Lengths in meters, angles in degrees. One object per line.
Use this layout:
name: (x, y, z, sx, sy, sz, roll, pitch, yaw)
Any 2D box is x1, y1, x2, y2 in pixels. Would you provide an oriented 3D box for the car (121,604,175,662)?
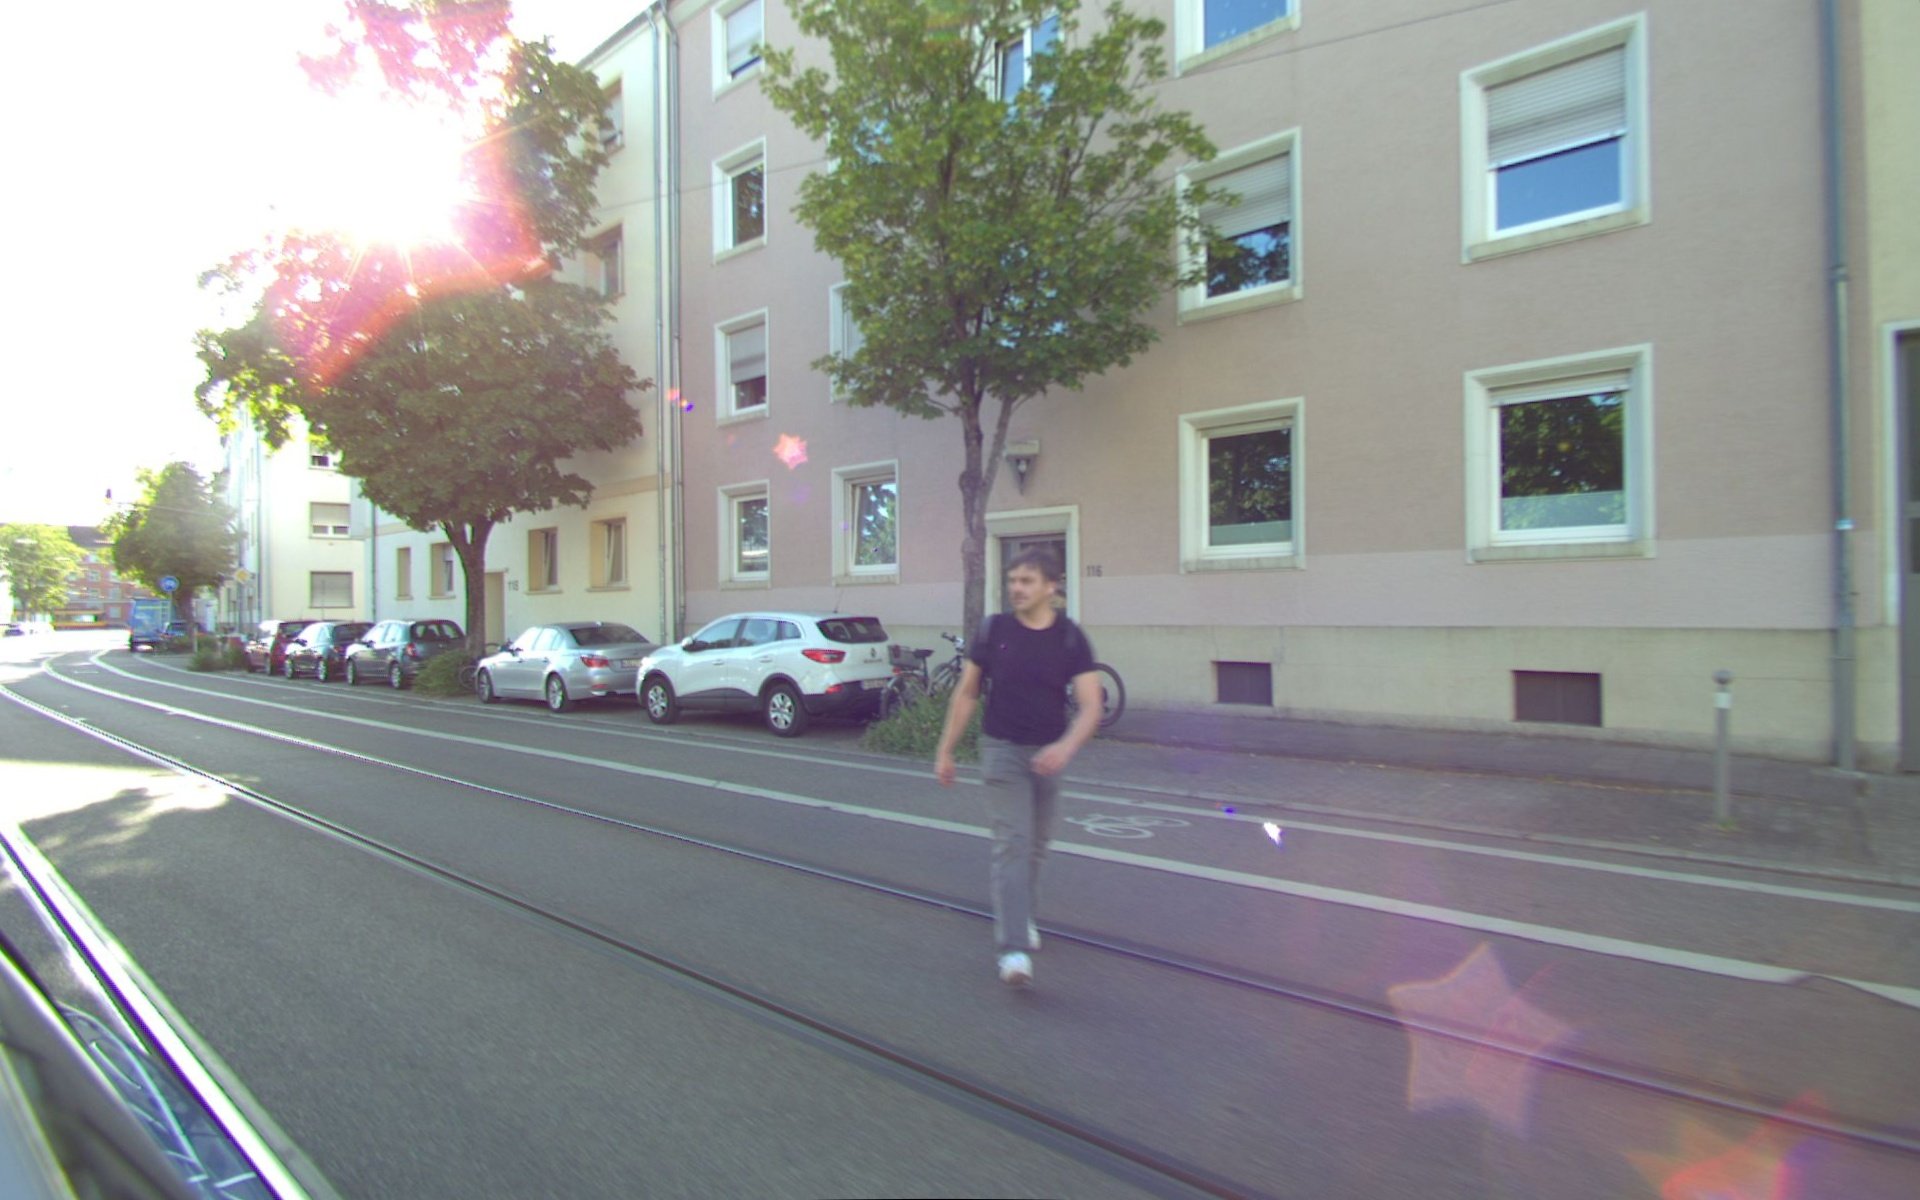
car: (-42.749, 1.699, 53.385, 1.991, 2.847, 6.045, -1, 0, -37)

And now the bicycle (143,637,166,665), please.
bicycle: (-34.153, 2.149, 42.908, 0.506, 1.143, 2.032, -1, -1, -45)

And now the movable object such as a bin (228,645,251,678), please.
movable object such as a bin: (-22.973, 1.951, 32.282, 0.660, 0.995, 0.479, -2, -1, 44)

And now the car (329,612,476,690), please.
car: (-12.817, 1.127, 23.212, 3.725, 1.626, 1.576, -2, 0, 37)

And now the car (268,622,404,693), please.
car: (-16.072, 1.433, 26.011, 3.854, 1.541, 1.769, -2, 2, 39)

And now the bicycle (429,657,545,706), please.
bicycle: (-9.526, 1.624, 20.469, 0.477, 0.831, 2.105, -2, 0, 41)

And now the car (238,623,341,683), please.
car: (-19.042, 1.456, 28.676, 1.669, 1.541, 4.002, -1, -1, -45)

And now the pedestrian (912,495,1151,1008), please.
pedestrian: (0.315, 0.546, 4.087, 0.730, 1.790, 0.846, -2, -3, 22)

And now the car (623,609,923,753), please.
car: (-2.683, 1.010, 13.978, 4.290, 1.681, 1.636, -2, 0, 38)

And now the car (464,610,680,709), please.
car: (-6.912, 0.970, 17.738, 4.660, 1.486, 1.670, -2, 0, 43)

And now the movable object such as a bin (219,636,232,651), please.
movable object such as a bin: (-45.217, 2.671, 62.305, 0.588, 0.941, 0.570, 1, -2, -41)

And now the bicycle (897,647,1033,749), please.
bicycle: (0.092, 1.149, 12.293, 0.476, 1.054, 1.904, -2, -1, 43)

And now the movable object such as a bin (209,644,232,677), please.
movable object such as a bin: (-23.332, 1.911, 31.916, 0.660, 0.995, 0.479, -2, -1, 44)

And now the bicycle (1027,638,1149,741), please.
bicycle: (1.454, 1.001, 11.654, 1.439, 1.110, 0.325, -2, -1, 42)

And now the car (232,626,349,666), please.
car: (-27.925, 1.894, 42.241, 3.839, 1.469, 1.770, -1, 0, -42)

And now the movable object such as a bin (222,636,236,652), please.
movable object such as a bin: (-44.026, 2.636, 60.945, 0.588, 0.941, 0.570, 1, -2, -41)

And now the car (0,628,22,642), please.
car: (-105.770, 3.852, 112.544, 1.680, 1.493, 4.667, 3, -3, -38)

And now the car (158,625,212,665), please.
car: (-36.755, 2.077, 47.956, 1.769, 1.571, 4.651, -9, 5, -38)
